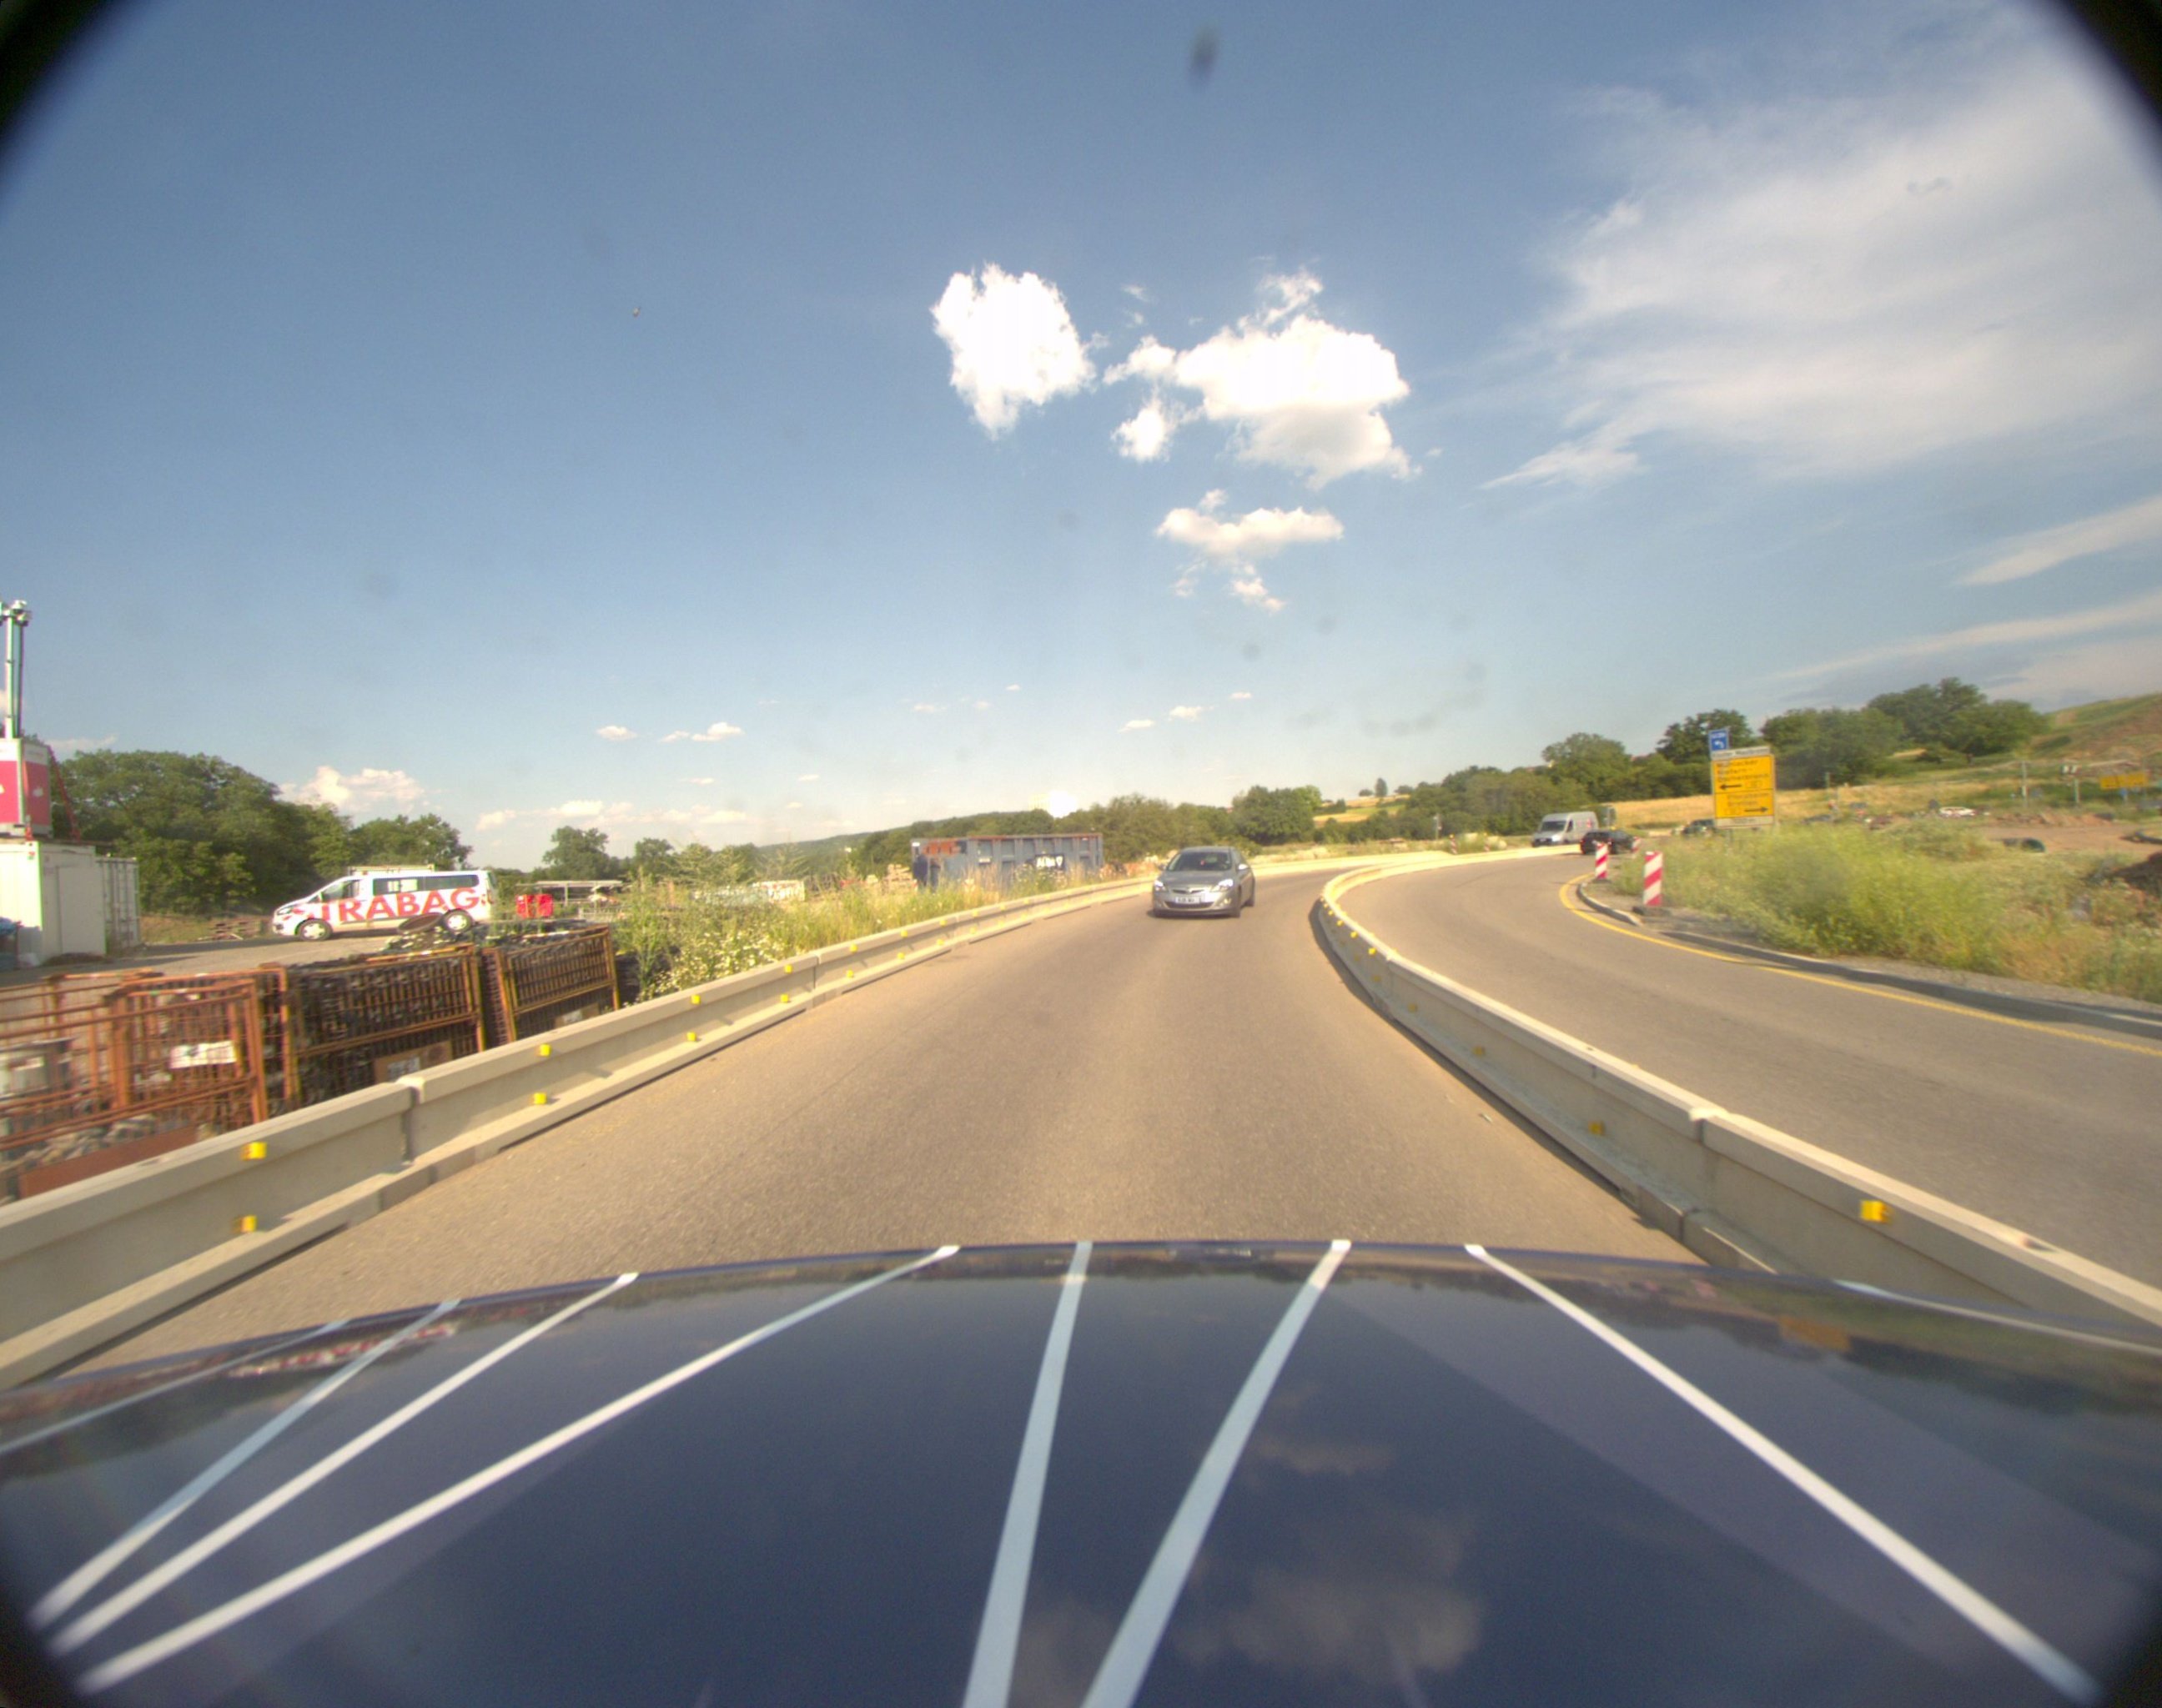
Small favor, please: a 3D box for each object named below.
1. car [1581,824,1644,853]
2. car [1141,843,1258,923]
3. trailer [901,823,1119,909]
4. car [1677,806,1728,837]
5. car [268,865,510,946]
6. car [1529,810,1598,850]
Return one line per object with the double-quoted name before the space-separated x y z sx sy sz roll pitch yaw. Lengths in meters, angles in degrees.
"car" 31.044 -0.912 44.308 4.523 1.510 1.711 -3 2 -37
"car" 2.751 0.552 16.798 1.745 1.476 4.257 -2 0 19
"trailer" -2.085 0.292 25.319 3.005 2.400 7.241 -3 0 37
"car" 52.065 -2.752 63.610 4.005 2.389 1.873 -3 1 -28
"car" -21.995 1.545 24.582 5.328 2.067 2.481 -3 1 -32
"car" 32.957 -1.689 51.861 5.807 2.487 1.913 -3 1 -36
